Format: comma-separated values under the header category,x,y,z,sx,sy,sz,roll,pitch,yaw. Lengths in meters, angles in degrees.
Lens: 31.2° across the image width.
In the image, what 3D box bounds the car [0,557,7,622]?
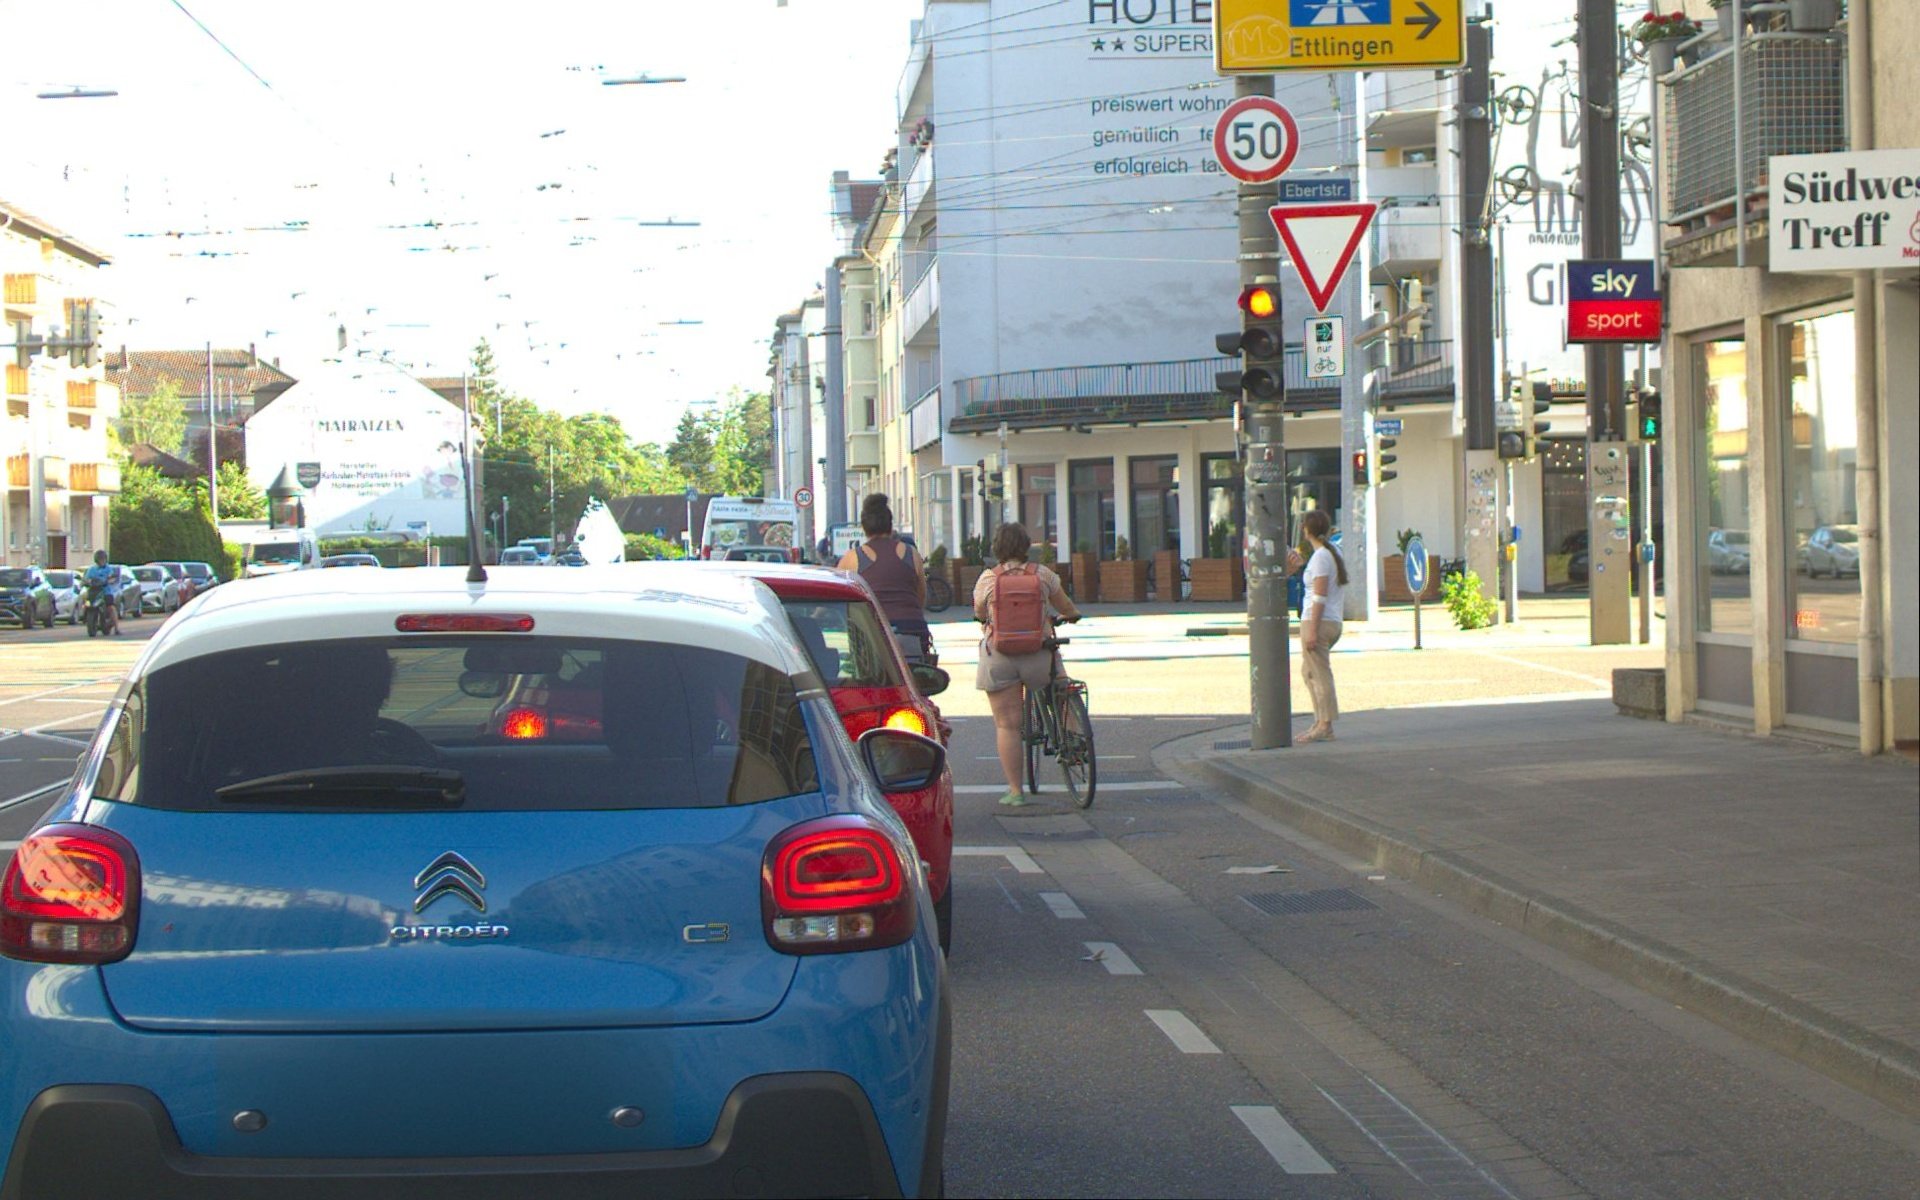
category,x,y,z,sx,sy,sz,roll,pitch,yaw
car,-23.318,-0.192,79.235,1.950,1.514,4.001,-1,1,-6

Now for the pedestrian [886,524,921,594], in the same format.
category,x,y,z,sx,sy,sz,roll,pitch,yaw
pedestrian,-1.151,-0.842,70.267,0.525,1.415,0.546,-1,1,20

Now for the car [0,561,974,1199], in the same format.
category,x,y,z,sx,sy,sz,roll,pitch,yaw
car,-0.960,0.670,7.384,1.680,1.457,4.001,0,1,-4

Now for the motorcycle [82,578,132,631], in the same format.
category,x,y,z,sx,sy,sz,roll,pitch,yaw
motorcycle,-16.692,0.075,67.296,0.751,0.973,2.098,-1,1,-9

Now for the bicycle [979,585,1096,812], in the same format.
category,x,y,z,sx,sy,sz,roll,pitch,yaw
bicycle,0.447,0.561,20.651,0.613,1.260,1.911,-1,1,-1

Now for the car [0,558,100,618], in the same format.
category,x,y,z,sx,sy,sz,roll,pitch,yaw
car,-24.303,-0.334,91.957,1.950,1.514,4.001,-1,1,-6

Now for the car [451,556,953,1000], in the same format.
category,x,y,z,sx,sy,sz,roll,pitch,yaw
car,-1.006,0.579,13.594,1.680,1.457,4.001,0,1,-4

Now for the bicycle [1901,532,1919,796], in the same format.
category,x,y,z,sx,sy,sz,roll,pitch,yaw
bicycle,4.913,0.315,15.762,0.640,1.260,1.911,-1,1,-1

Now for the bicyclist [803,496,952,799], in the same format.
category,x,y,z,sx,sy,sz,roll,pitch,yaw
bicyclist,-0.464,0.251,18.993,0.616,1.624,0.760,-2,1,-16

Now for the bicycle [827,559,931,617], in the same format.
category,x,y,z,sx,sy,sz,roll,pitch,yaw
bicycle,-1.556,-0.239,65.823,1.904,1.061,0.642,-1,1,-7

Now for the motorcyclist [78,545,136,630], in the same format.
category,x,y,z,sx,sy,sz,roll,pitch,yaw
motorcyclist,-16.673,-0.250,67.223,0.991,1.625,0.739,-1,1,-9

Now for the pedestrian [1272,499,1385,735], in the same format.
category,x,y,z,sx,sy,sz,roll,pitch,yaw
pedestrian,2.601,0.111,24.318,0.751,1.629,0.740,-1,1,6

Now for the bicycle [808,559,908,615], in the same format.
category,x,y,z,sx,sy,sz,roll,pitch,yaw
bicycle,-2.024,-0.271,68.322,1.904,1.061,0.642,-1,1,-7

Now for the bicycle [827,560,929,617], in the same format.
category,x,y,z,sx,sy,sz,roll,pitch,yaw
bicycle,-1.605,-0.233,67.129,1.904,1.061,0.642,-1,1,-7

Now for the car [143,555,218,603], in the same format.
category,x,y,z,sx,sy,sz,roll,pitch,yaw
car,-26.065,-0.718,115.009,1.950,1.514,4.001,-1,1,-6

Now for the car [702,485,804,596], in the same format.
category,x,y,z,sx,sy,sz,roll,pitch,yaw
car,-4.430,-1.274,73.250,2.079,2.262,5.652,0,1,-4

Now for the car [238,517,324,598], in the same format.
category,x,y,z,sx,sy,sz,roll,pitch,yaw
car,-23.658,-1.501,119.946,2.493,2.703,5.839,-1,1,-7

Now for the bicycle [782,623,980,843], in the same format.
category,x,y,z,sx,sy,sz,roll,pitch,yaw
bicycle,-0.460,0.703,19.019,0.616,1.099,1.887,-2,1,-16

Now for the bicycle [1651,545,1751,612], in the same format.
category,x,y,z,sx,sy,sz,roll,pitch,yaw
bicycle,12.245,-0.351,56.814,1.492,1.087,0.604,0,1,37

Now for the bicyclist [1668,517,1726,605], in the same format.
category,x,y,z,sx,sy,sz,roll,pitch,yaw
bicyclist,12.190,-0.646,56.841,0.728,1.429,0.604,0,1,37

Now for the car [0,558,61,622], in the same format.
category,x,y,z,sx,sy,sz,roll,pitch,yaw
car,-23.783,-0.266,85.900,1.950,1.514,4.001,-1,1,-6

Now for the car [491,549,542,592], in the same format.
category,x,y,z,sx,sy,sz,roll,pitch,yaw
car,-22.039,-1.495,170.851,2.338,2.032,5.051,-1,1,-6

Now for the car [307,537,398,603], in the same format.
category,x,y,z,sx,sy,sz,roll,pitch,yaw
car,-15.607,-0.794,88.490,2.004,1.622,5.054,-1,1,-7

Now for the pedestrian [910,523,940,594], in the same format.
category,x,y,z,sx,sy,sz,roll,pitch,yaw
pedestrian,-0.718,-0.844,70.016,0.467,1.415,0.527,-1,1,-13

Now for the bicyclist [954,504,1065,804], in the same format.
category,x,y,z,sx,sy,sz,roll,pitch,yaw
bicyclist,0.290,0.305,20.609,0.600,1.740,1.084,-1,1,-1

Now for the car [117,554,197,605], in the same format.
category,x,y,z,sx,sy,sz,roll,pitch,yaw
car,-25.355,-0.670,108.667,1.950,1.514,4.001,-1,1,-6

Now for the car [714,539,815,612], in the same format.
category,x,y,z,sx,sy,sz,roll,pitch,yaw
car,-3.880,-0.512,67.814,1.786,1.354,3.915,-1,1,-6

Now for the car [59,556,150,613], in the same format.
category,x,y,z,sx,sy,sz,roll,pitch,yaw
car,-24.455,-0.456,98.384,1.950,1.514,4.001,-1,1,-6

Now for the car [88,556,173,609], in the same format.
category,x,y,z,sx,sy,sz,roll,pitch,yaw
car,-24.922,-0.539,103.388,1.950,1.514,4.001,-1,1,-6
